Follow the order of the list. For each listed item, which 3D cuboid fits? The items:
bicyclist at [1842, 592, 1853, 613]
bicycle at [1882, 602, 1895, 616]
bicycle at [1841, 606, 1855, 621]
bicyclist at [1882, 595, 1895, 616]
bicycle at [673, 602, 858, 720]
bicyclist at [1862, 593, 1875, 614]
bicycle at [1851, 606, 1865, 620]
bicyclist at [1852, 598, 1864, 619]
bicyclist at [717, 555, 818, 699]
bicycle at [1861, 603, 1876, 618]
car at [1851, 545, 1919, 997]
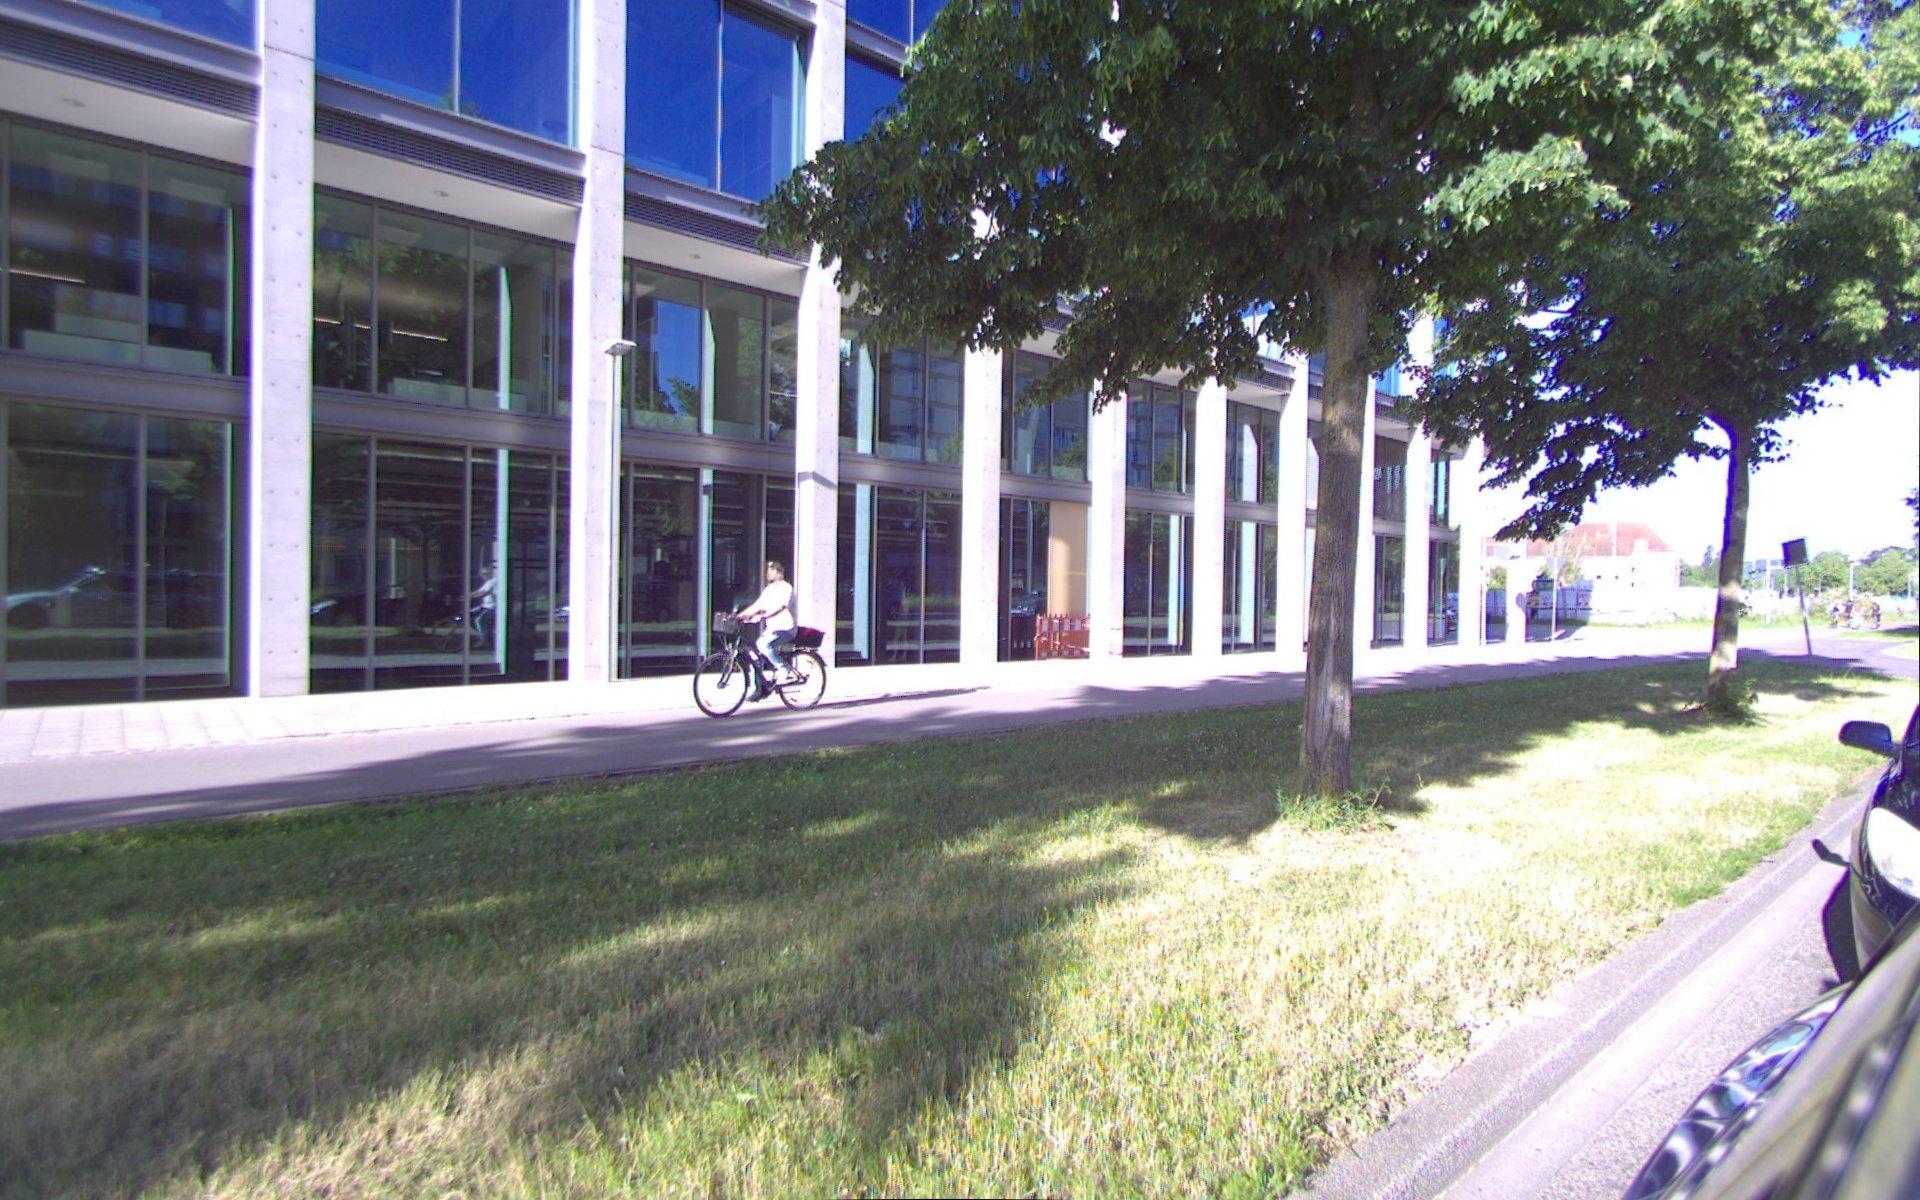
[{"bbox_3d":[53.481,0.152,60.971,0.410,1.305,0.448,0,0,-40],"label":"bicyclist"},{"bbox_3d":[57.416,0.571,62.580,1.321,0.828,0.464,-1,0,-40],"label":"bicycle"},{"bbox_3d":[53.469,0.807,60.928,1.296,0.828,0.415,-1,0,-40],"label":"bicycle"},{"bbox_3d":[57.422,0.353,62.579,0.512,1.305,0.534,0,0,-40],"label":"bicyclist"},{"bbox_3d":[-2.181,0.643,11.503,1.927,1.188,0.743,0,2,-41],"label":"bicycle"},{"bbox_3d":[54.135,0.191,60.293,0.498,1.232,0.534,0,0,-40],"label":"bicyclist"},{"bbox_3d":[56.394,0.808,63.546,1.321,0.828,0.464,-1,0,-40],"label":"bicycle"},{"bbox_3d":[56.394,0.535,63.556,0.449,1.305,0.534,0,0,-40],"label":"bicyclist"},{"bbox_3d":[-2.186,0.279,11.497,0.835,1.550,0.773,0,1,-41],"label":"bicyclist"},{"bbox_3d":[54.137,0.622,60.296,1.321,0.828,0.464,-1,0,-40],"label":"bicycle"},{"bbox_3d":[5.114,0.594,4.164,3.719,1.541,1.685,0,1,-41],"label":"car"}]
